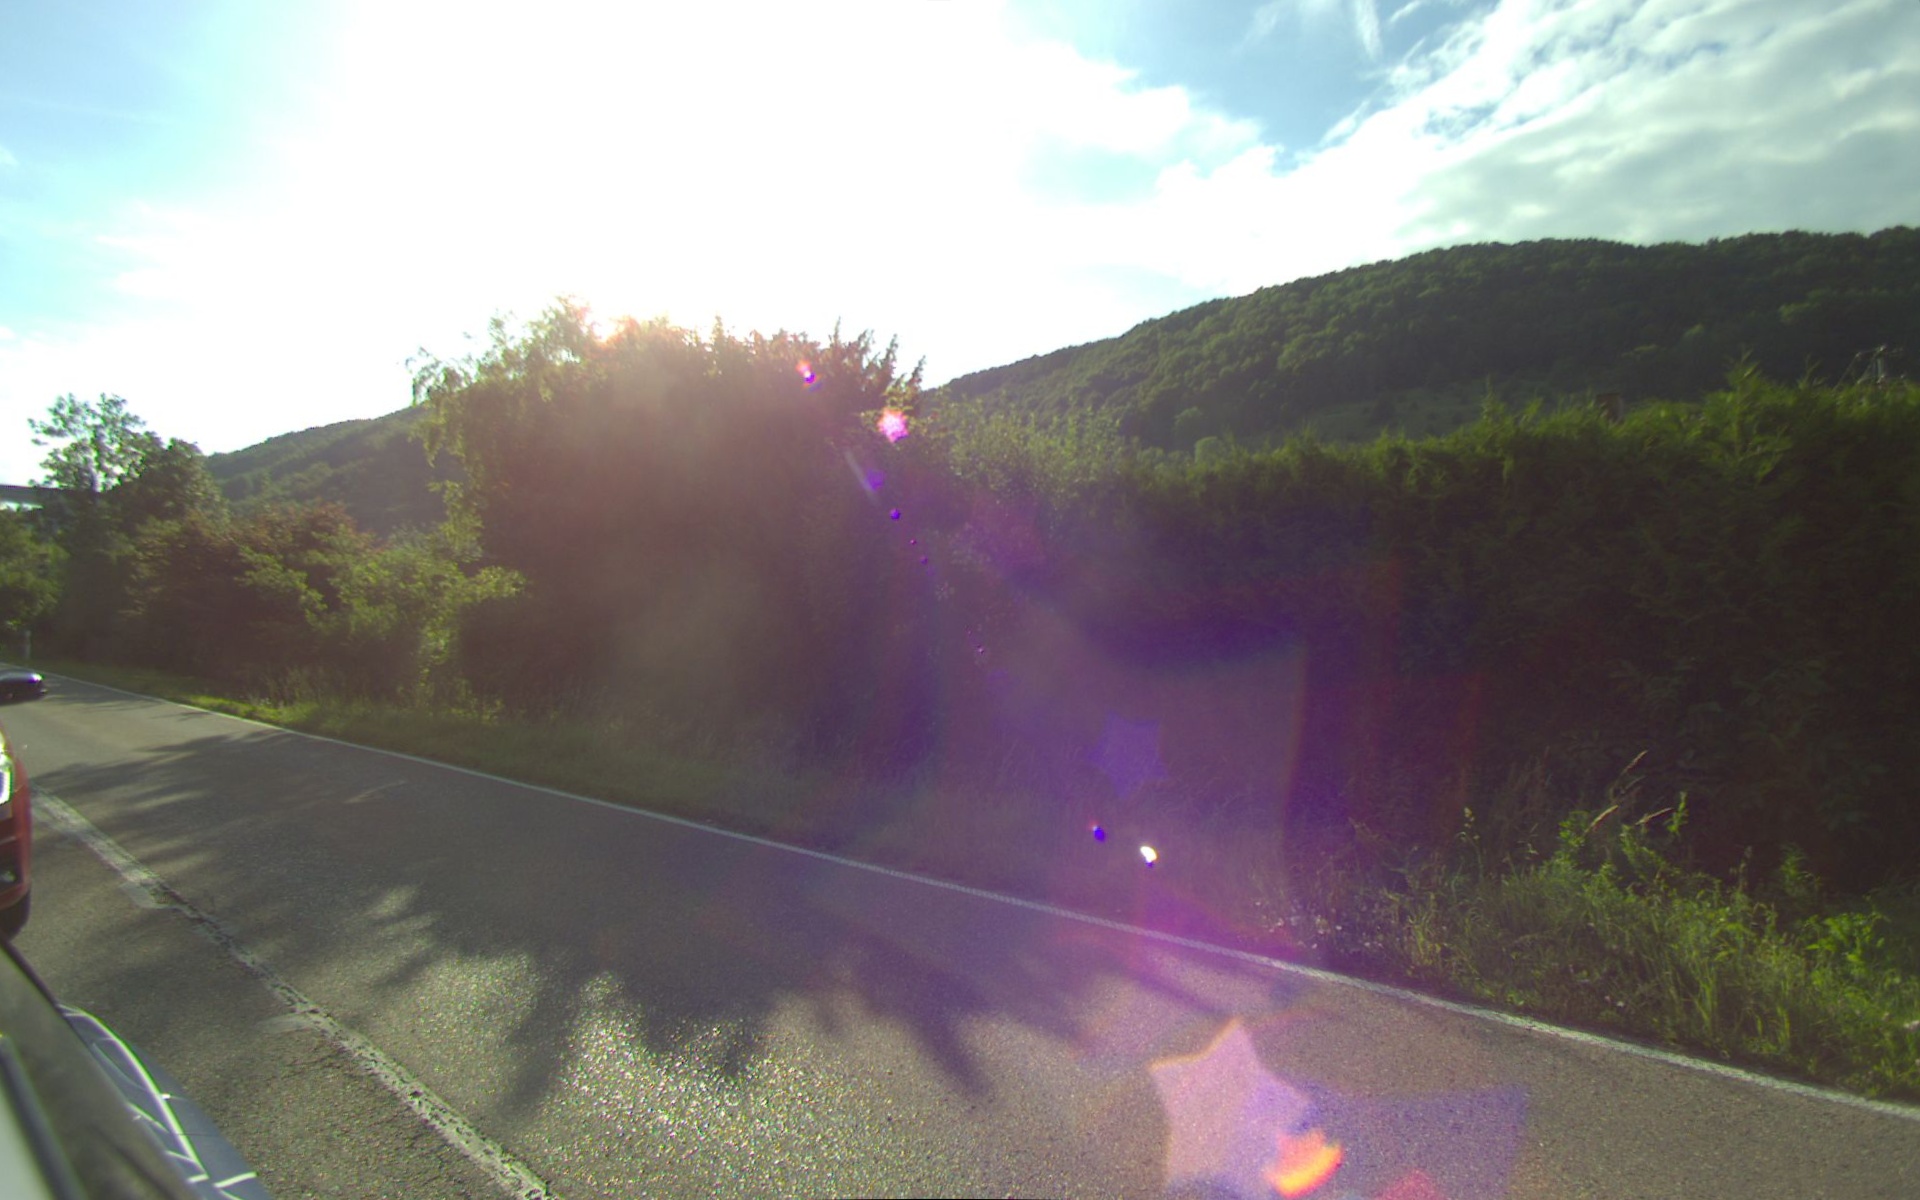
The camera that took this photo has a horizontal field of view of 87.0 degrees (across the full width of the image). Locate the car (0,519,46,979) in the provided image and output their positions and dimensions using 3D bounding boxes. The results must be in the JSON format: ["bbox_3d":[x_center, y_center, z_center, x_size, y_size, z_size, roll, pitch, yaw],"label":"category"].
[{"bbox_3d":[-5.904,0.634,4.875,4.286,1.823,1.731,-1,1,42],"label":"car"}]
